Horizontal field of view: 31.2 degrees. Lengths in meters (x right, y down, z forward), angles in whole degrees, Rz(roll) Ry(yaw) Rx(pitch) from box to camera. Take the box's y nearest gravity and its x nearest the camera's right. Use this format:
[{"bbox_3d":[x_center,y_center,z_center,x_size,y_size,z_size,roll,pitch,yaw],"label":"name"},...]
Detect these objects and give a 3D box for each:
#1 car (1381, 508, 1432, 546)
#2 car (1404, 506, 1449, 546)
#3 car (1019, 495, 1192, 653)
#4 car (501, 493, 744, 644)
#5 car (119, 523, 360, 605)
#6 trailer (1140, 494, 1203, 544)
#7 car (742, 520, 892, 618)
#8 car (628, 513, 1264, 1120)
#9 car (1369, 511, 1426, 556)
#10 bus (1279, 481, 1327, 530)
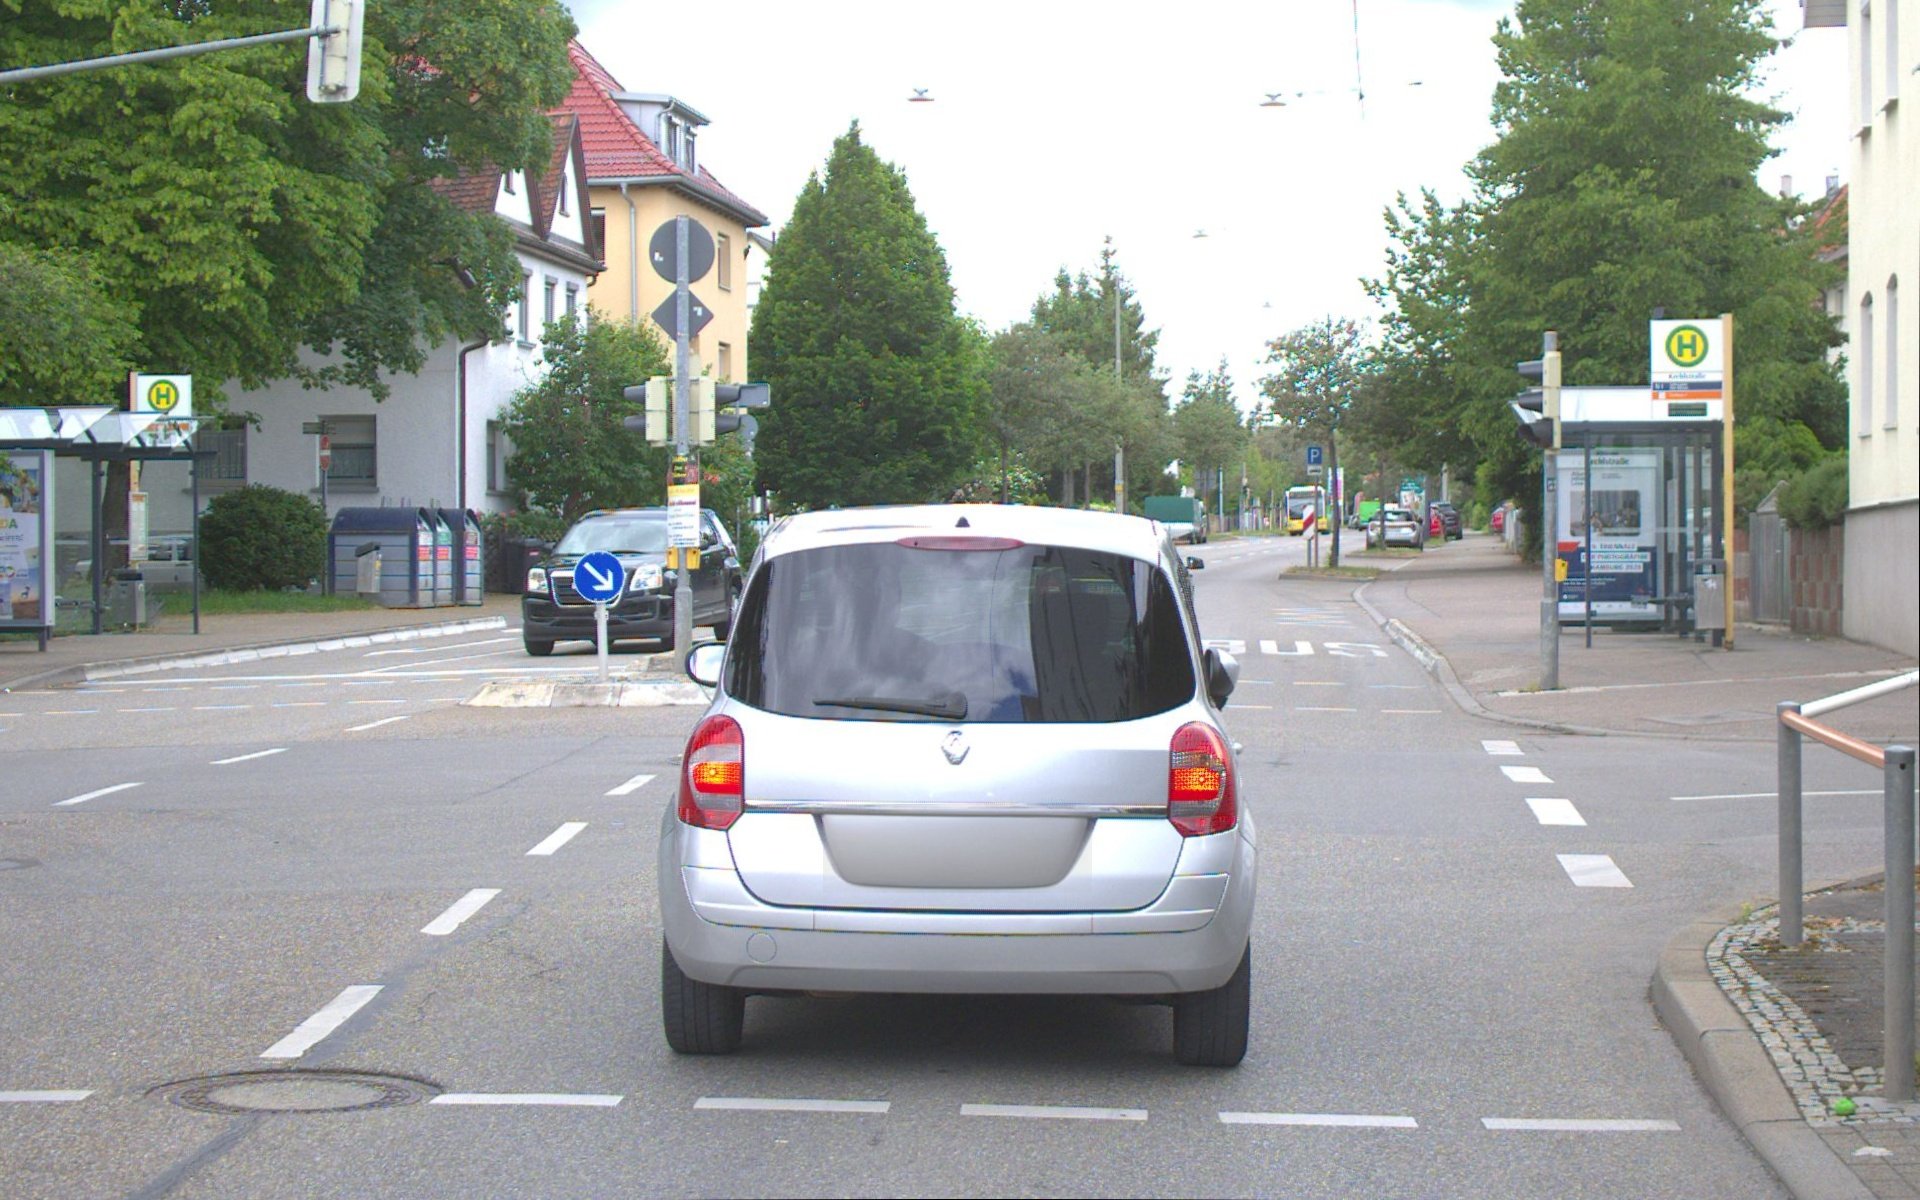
[{"bbox_3d":[16.854,-2.760,129.700,1.663,1.388,3.666,0,2,11],"label":"car"},{"bbox_3d":[18.248,-2.911,134.462,1.663,1.559,4.098,0,1,7],"label":"car"},{"bbox_3d":[1.631,-0.308,38.503,1.829,1.670,3.574,0,1,2],"label":"car"},{"bbox_3d":[-3.923,-0.360,40.722,1.758,1.629,4.593,-2,0,8],"label":"car"},{"bbox_3d":[-13.349,-0.660,63.789,3.988,1.327,1.722,-2,0,7],"label":"car"},{"bbox_3d":[9.391,-3.581,152.104,2.313,2.079,5.871,1,1,8],"label":"trailer"},{"bbox_3d":[-2.118,-0.460,52.064,1.564,1.415,4.129,0,0,8],"label":"car"},{"bbox_3d":[-0.003,0.545,10.977,1.630,1.551,4.000,1,1,1],"label":"car"},{"bbox_3d":[14.147,-2.128,110.991,1.651,1.377,3.998,1,0,10],"label":"car"},{"bbox_3d":[22.611,-6.226,226.252,2.633,3.075,12.067,-2,1,8],"label":"bus"}]
